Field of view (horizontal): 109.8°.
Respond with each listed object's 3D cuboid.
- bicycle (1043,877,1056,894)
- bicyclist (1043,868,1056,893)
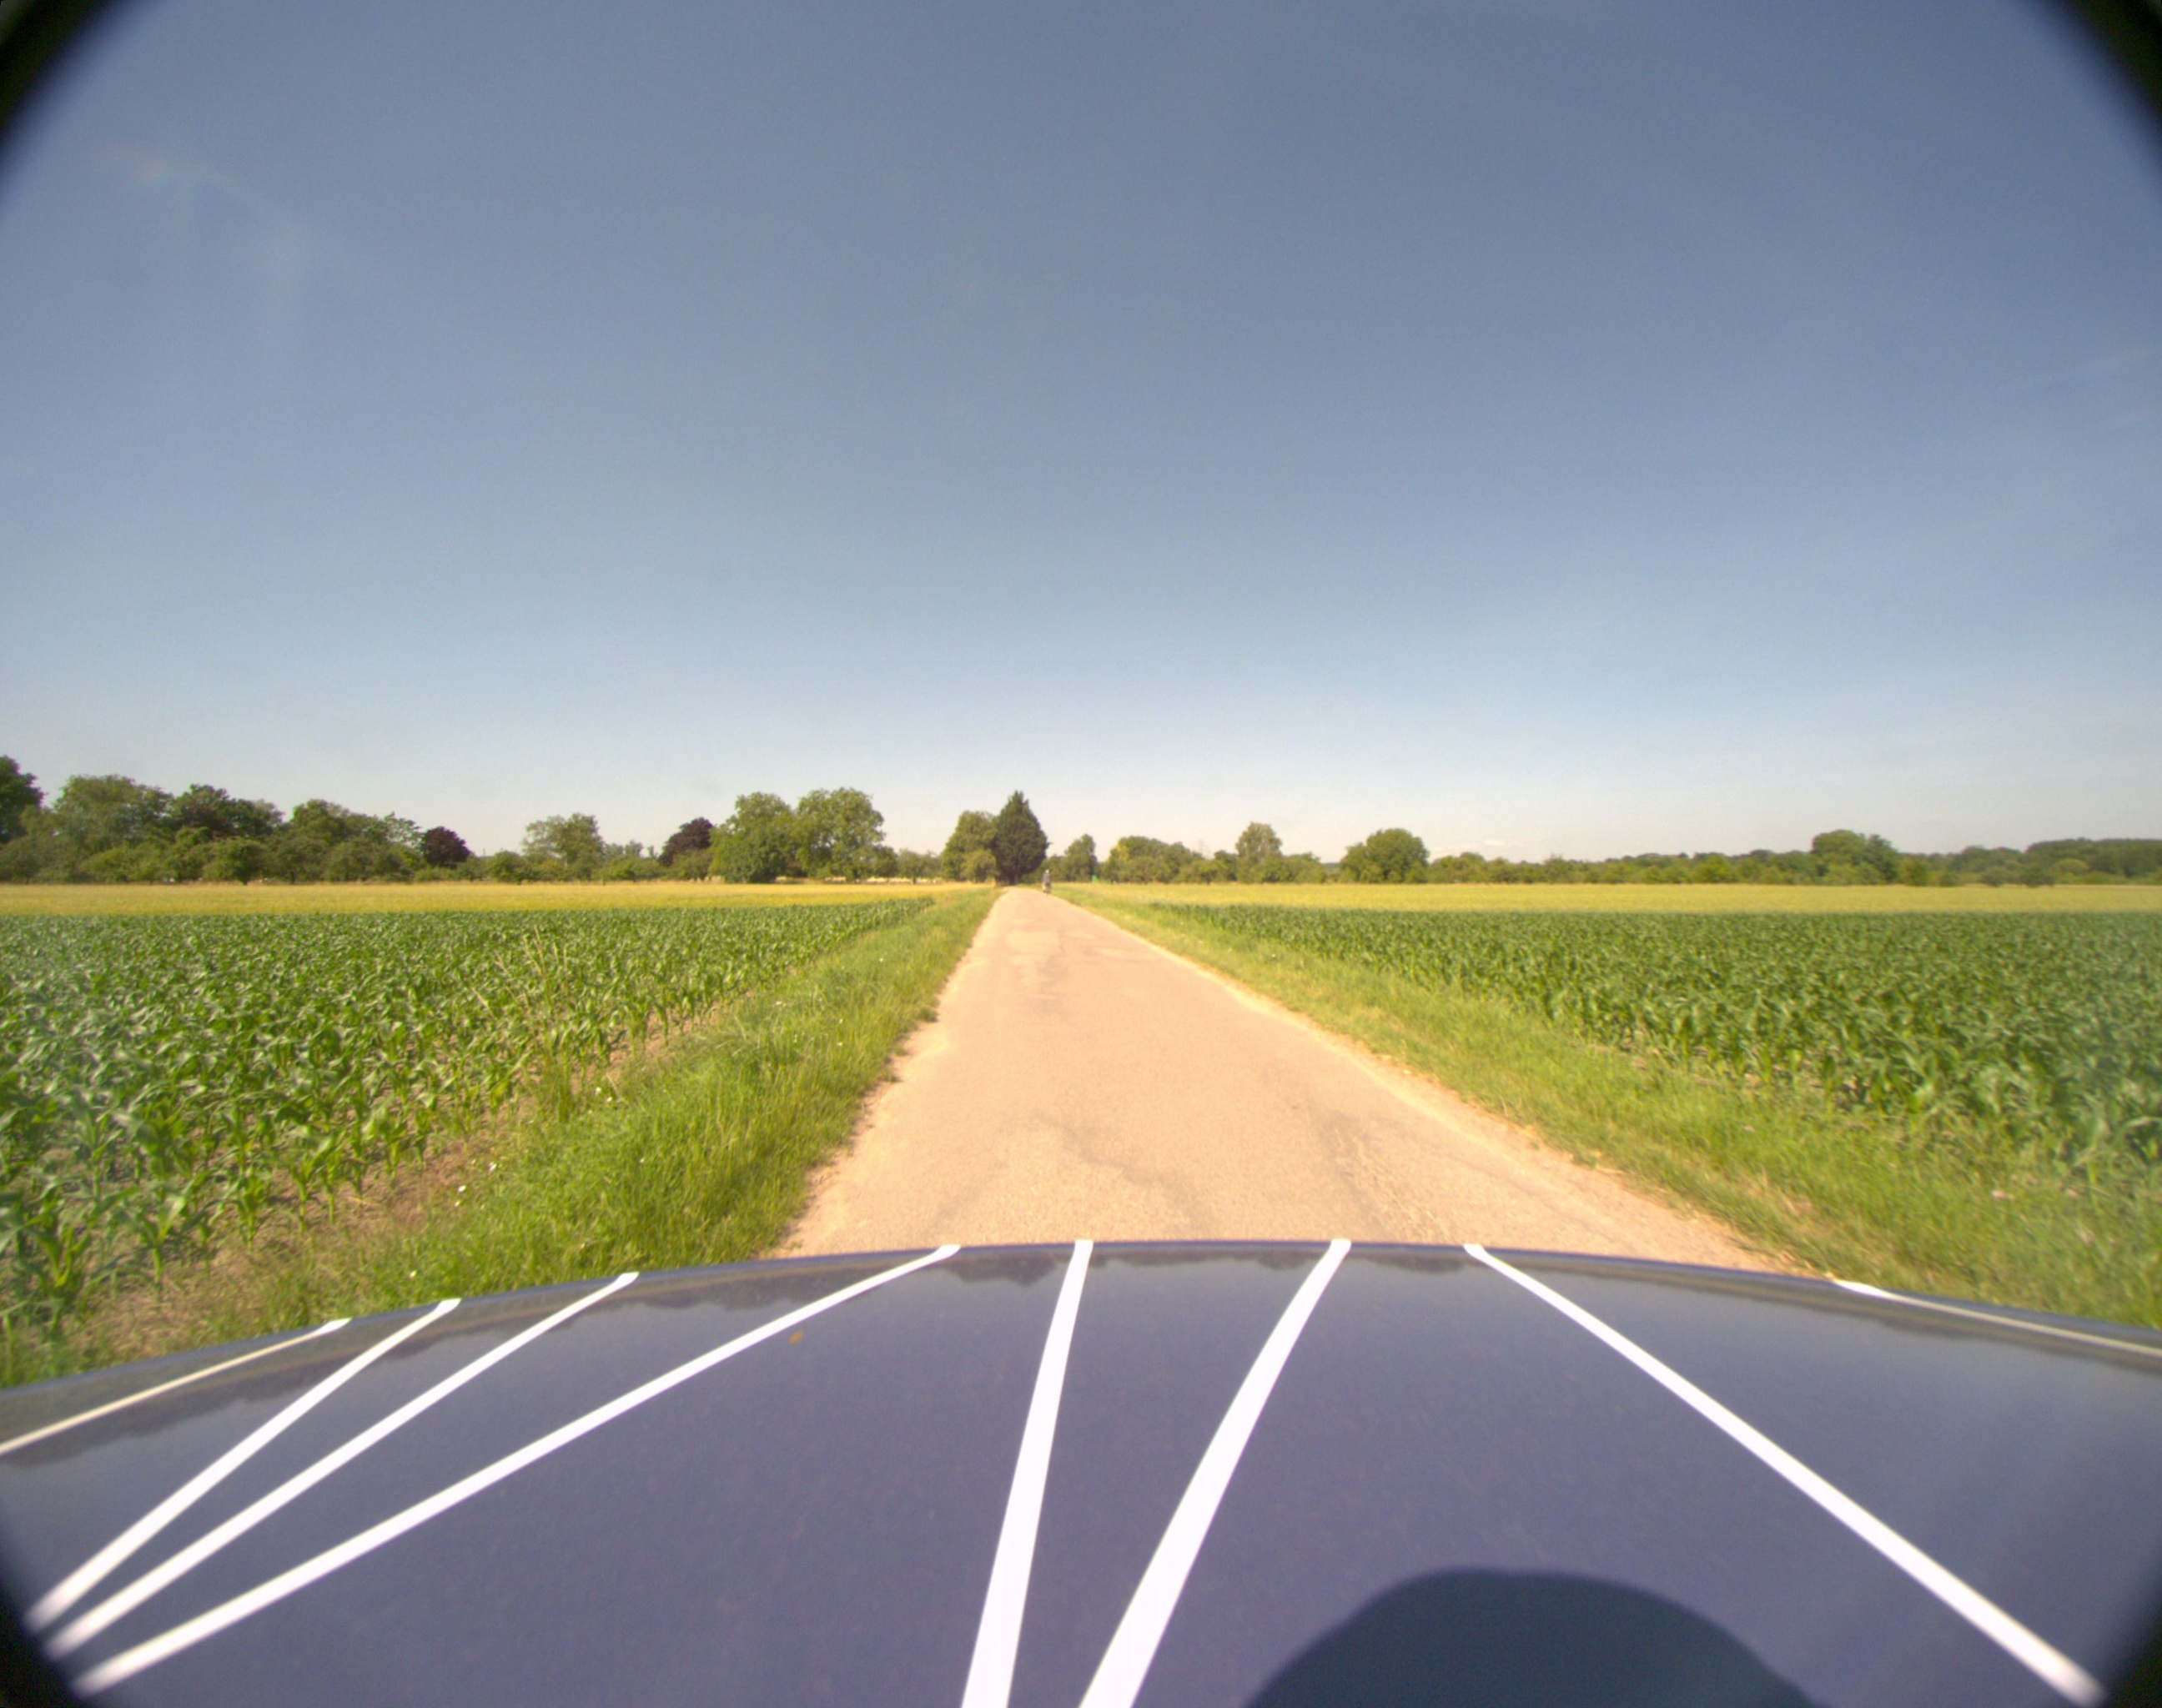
[{"bbox_3d":[-2.209,2.185,53.424,0.752,1.120,1.909,2,-1,1],"label":"bicycle"},{"bbox_3d":[-2.203,1.855,53.392,0.752,1.780,0.717,2,-1,1],"label":"bicyclist"}]
